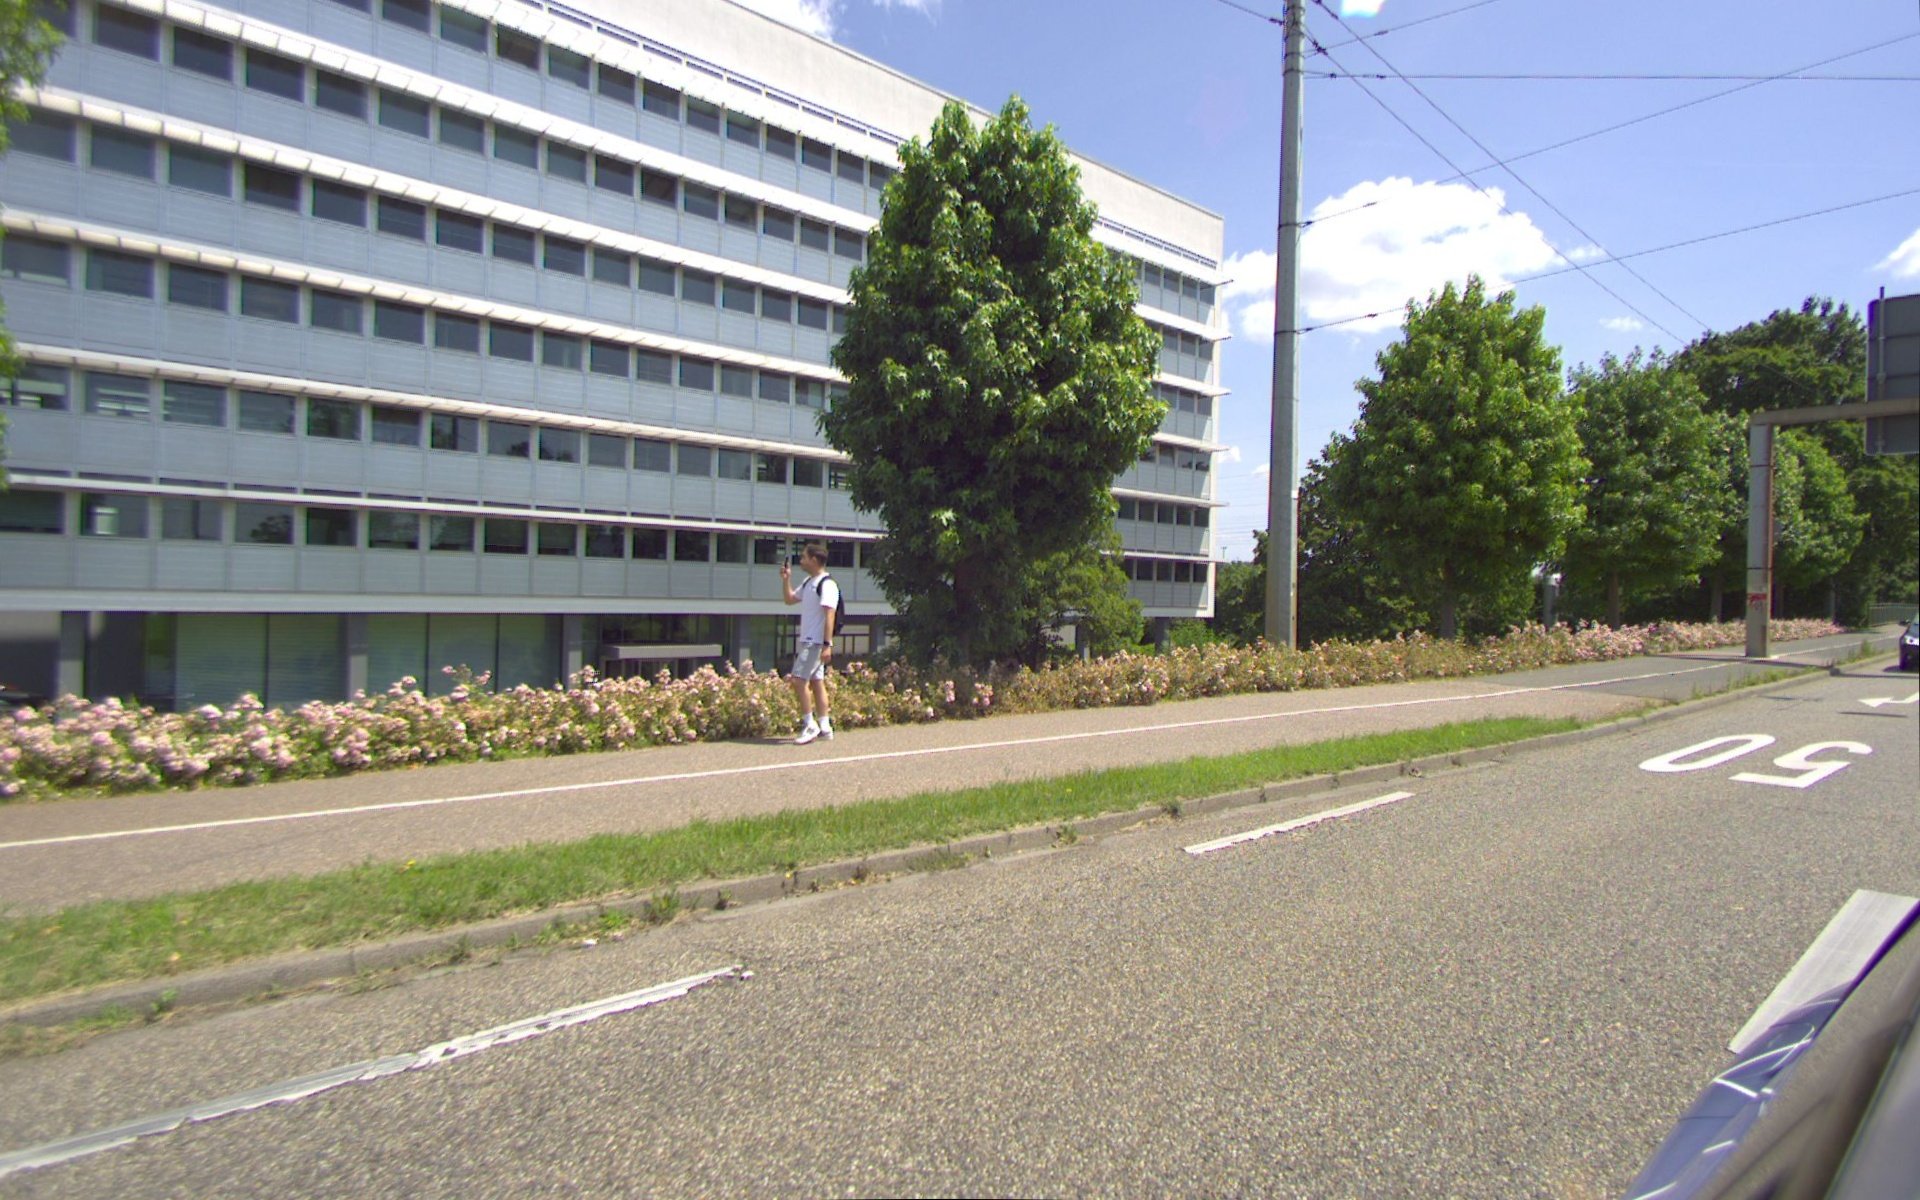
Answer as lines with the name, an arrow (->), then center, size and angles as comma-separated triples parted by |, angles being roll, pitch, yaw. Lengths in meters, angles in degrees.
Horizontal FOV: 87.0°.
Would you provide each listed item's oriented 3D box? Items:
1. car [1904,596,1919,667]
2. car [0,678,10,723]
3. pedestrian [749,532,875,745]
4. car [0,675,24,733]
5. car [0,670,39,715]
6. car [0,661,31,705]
car -> 22.746, 0.668, 22.767 | 4.028, 1.546, 1.763 | 0, -1, -41
car -> -32.954, 3.322, 32.180 | 3.931, 1.338, 1.607 | 0, 0, -42
pedestrian -> -1.385, 0.336, 9.474 | 0.914, 1.872, 0.758 | 0, -1, -39
car -> -31.292, 3.283, 30.888 | 3.931, 1.632, 1.996 | 0, 0, -42
car -> -33.974, 3.230, 34.393 | 3.931, 1.403, 1.646 | 0, 0, -42
car -> -36.075, 3.064, 36.364 | 3.931, 1.465, 1.996 | 0, 0, -42
